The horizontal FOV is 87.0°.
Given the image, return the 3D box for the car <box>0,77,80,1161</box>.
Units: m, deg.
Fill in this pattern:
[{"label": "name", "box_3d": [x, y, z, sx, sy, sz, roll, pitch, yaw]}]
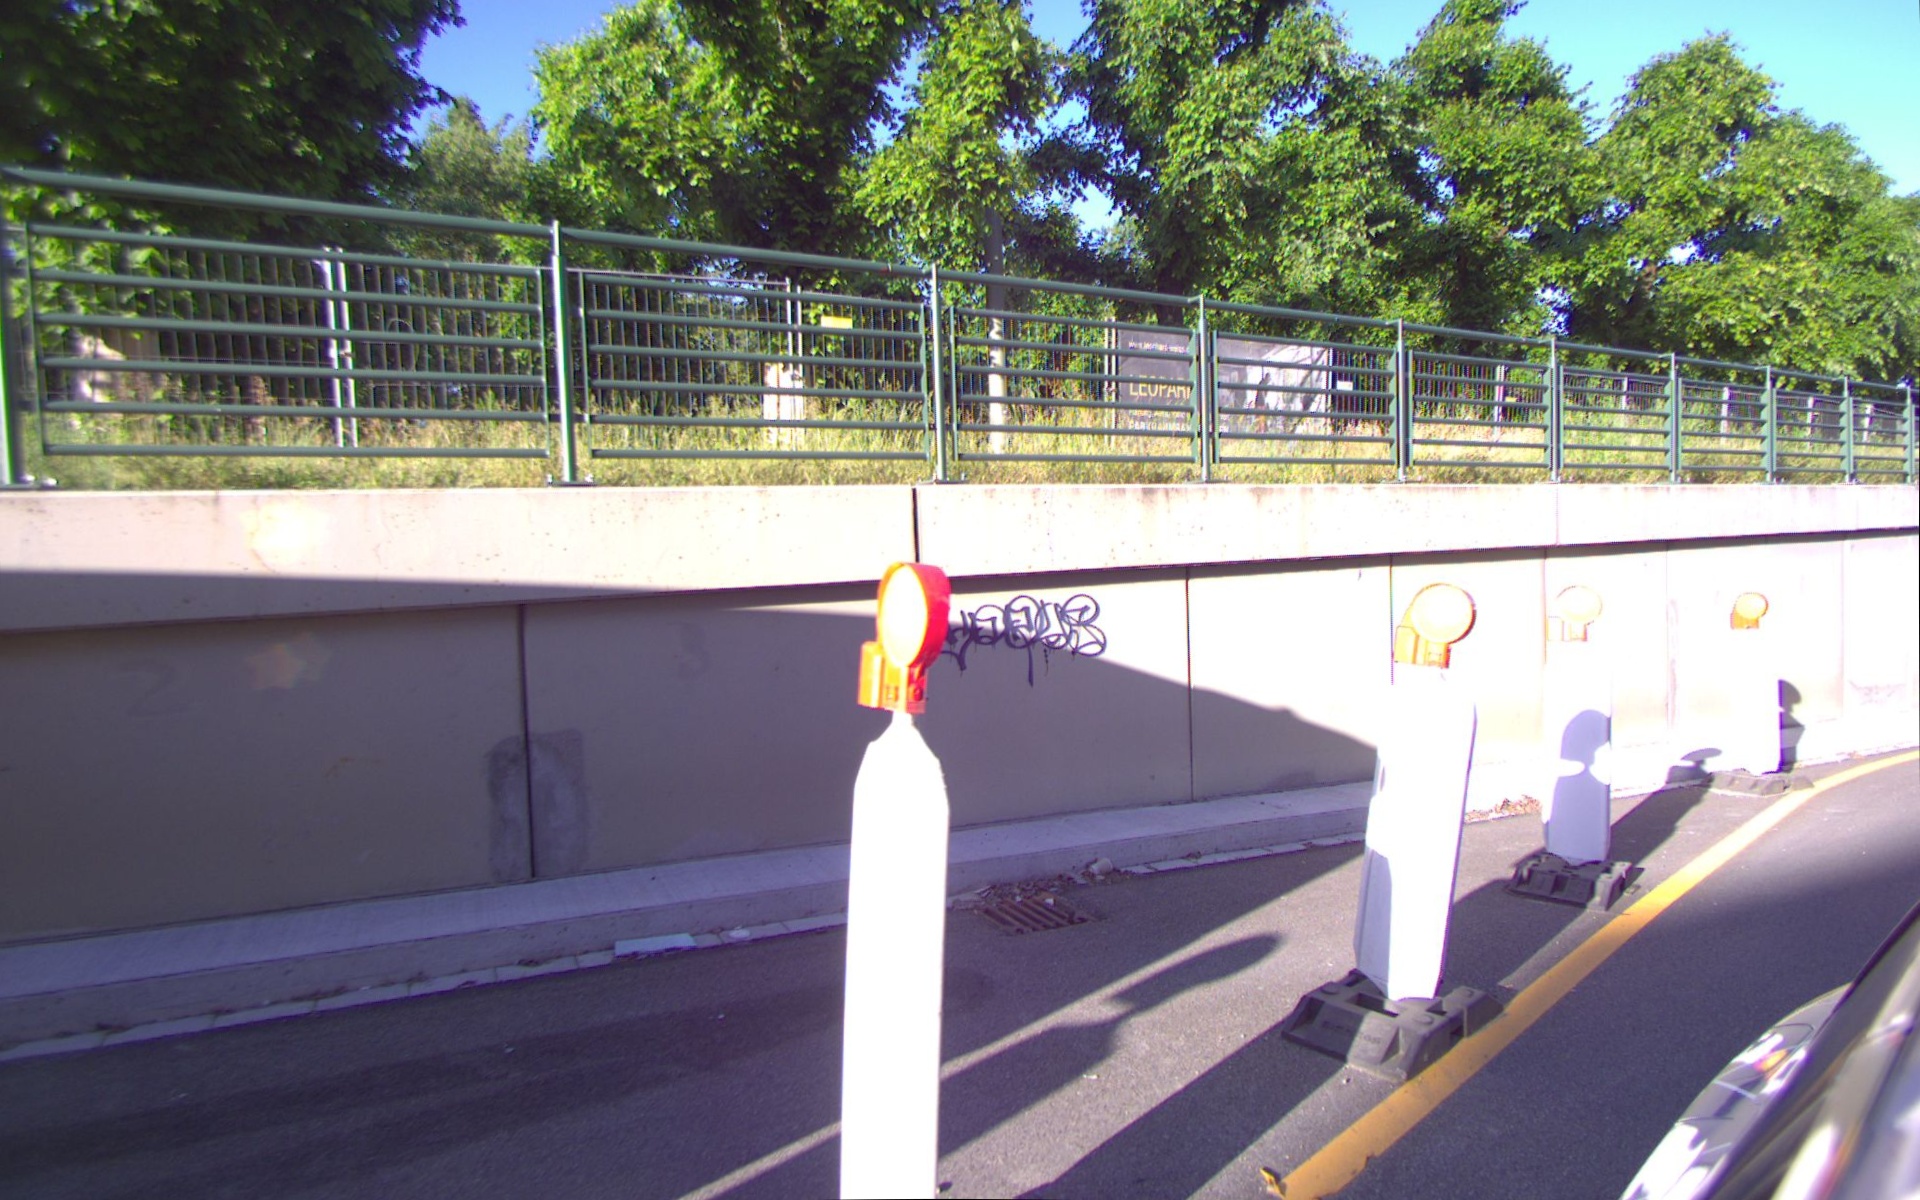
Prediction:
[{"label": "car", "box_3d": [-5.201, 0.092, 0.493, 6.843, 2.657, 2.123, -1, 1, -25]}]
